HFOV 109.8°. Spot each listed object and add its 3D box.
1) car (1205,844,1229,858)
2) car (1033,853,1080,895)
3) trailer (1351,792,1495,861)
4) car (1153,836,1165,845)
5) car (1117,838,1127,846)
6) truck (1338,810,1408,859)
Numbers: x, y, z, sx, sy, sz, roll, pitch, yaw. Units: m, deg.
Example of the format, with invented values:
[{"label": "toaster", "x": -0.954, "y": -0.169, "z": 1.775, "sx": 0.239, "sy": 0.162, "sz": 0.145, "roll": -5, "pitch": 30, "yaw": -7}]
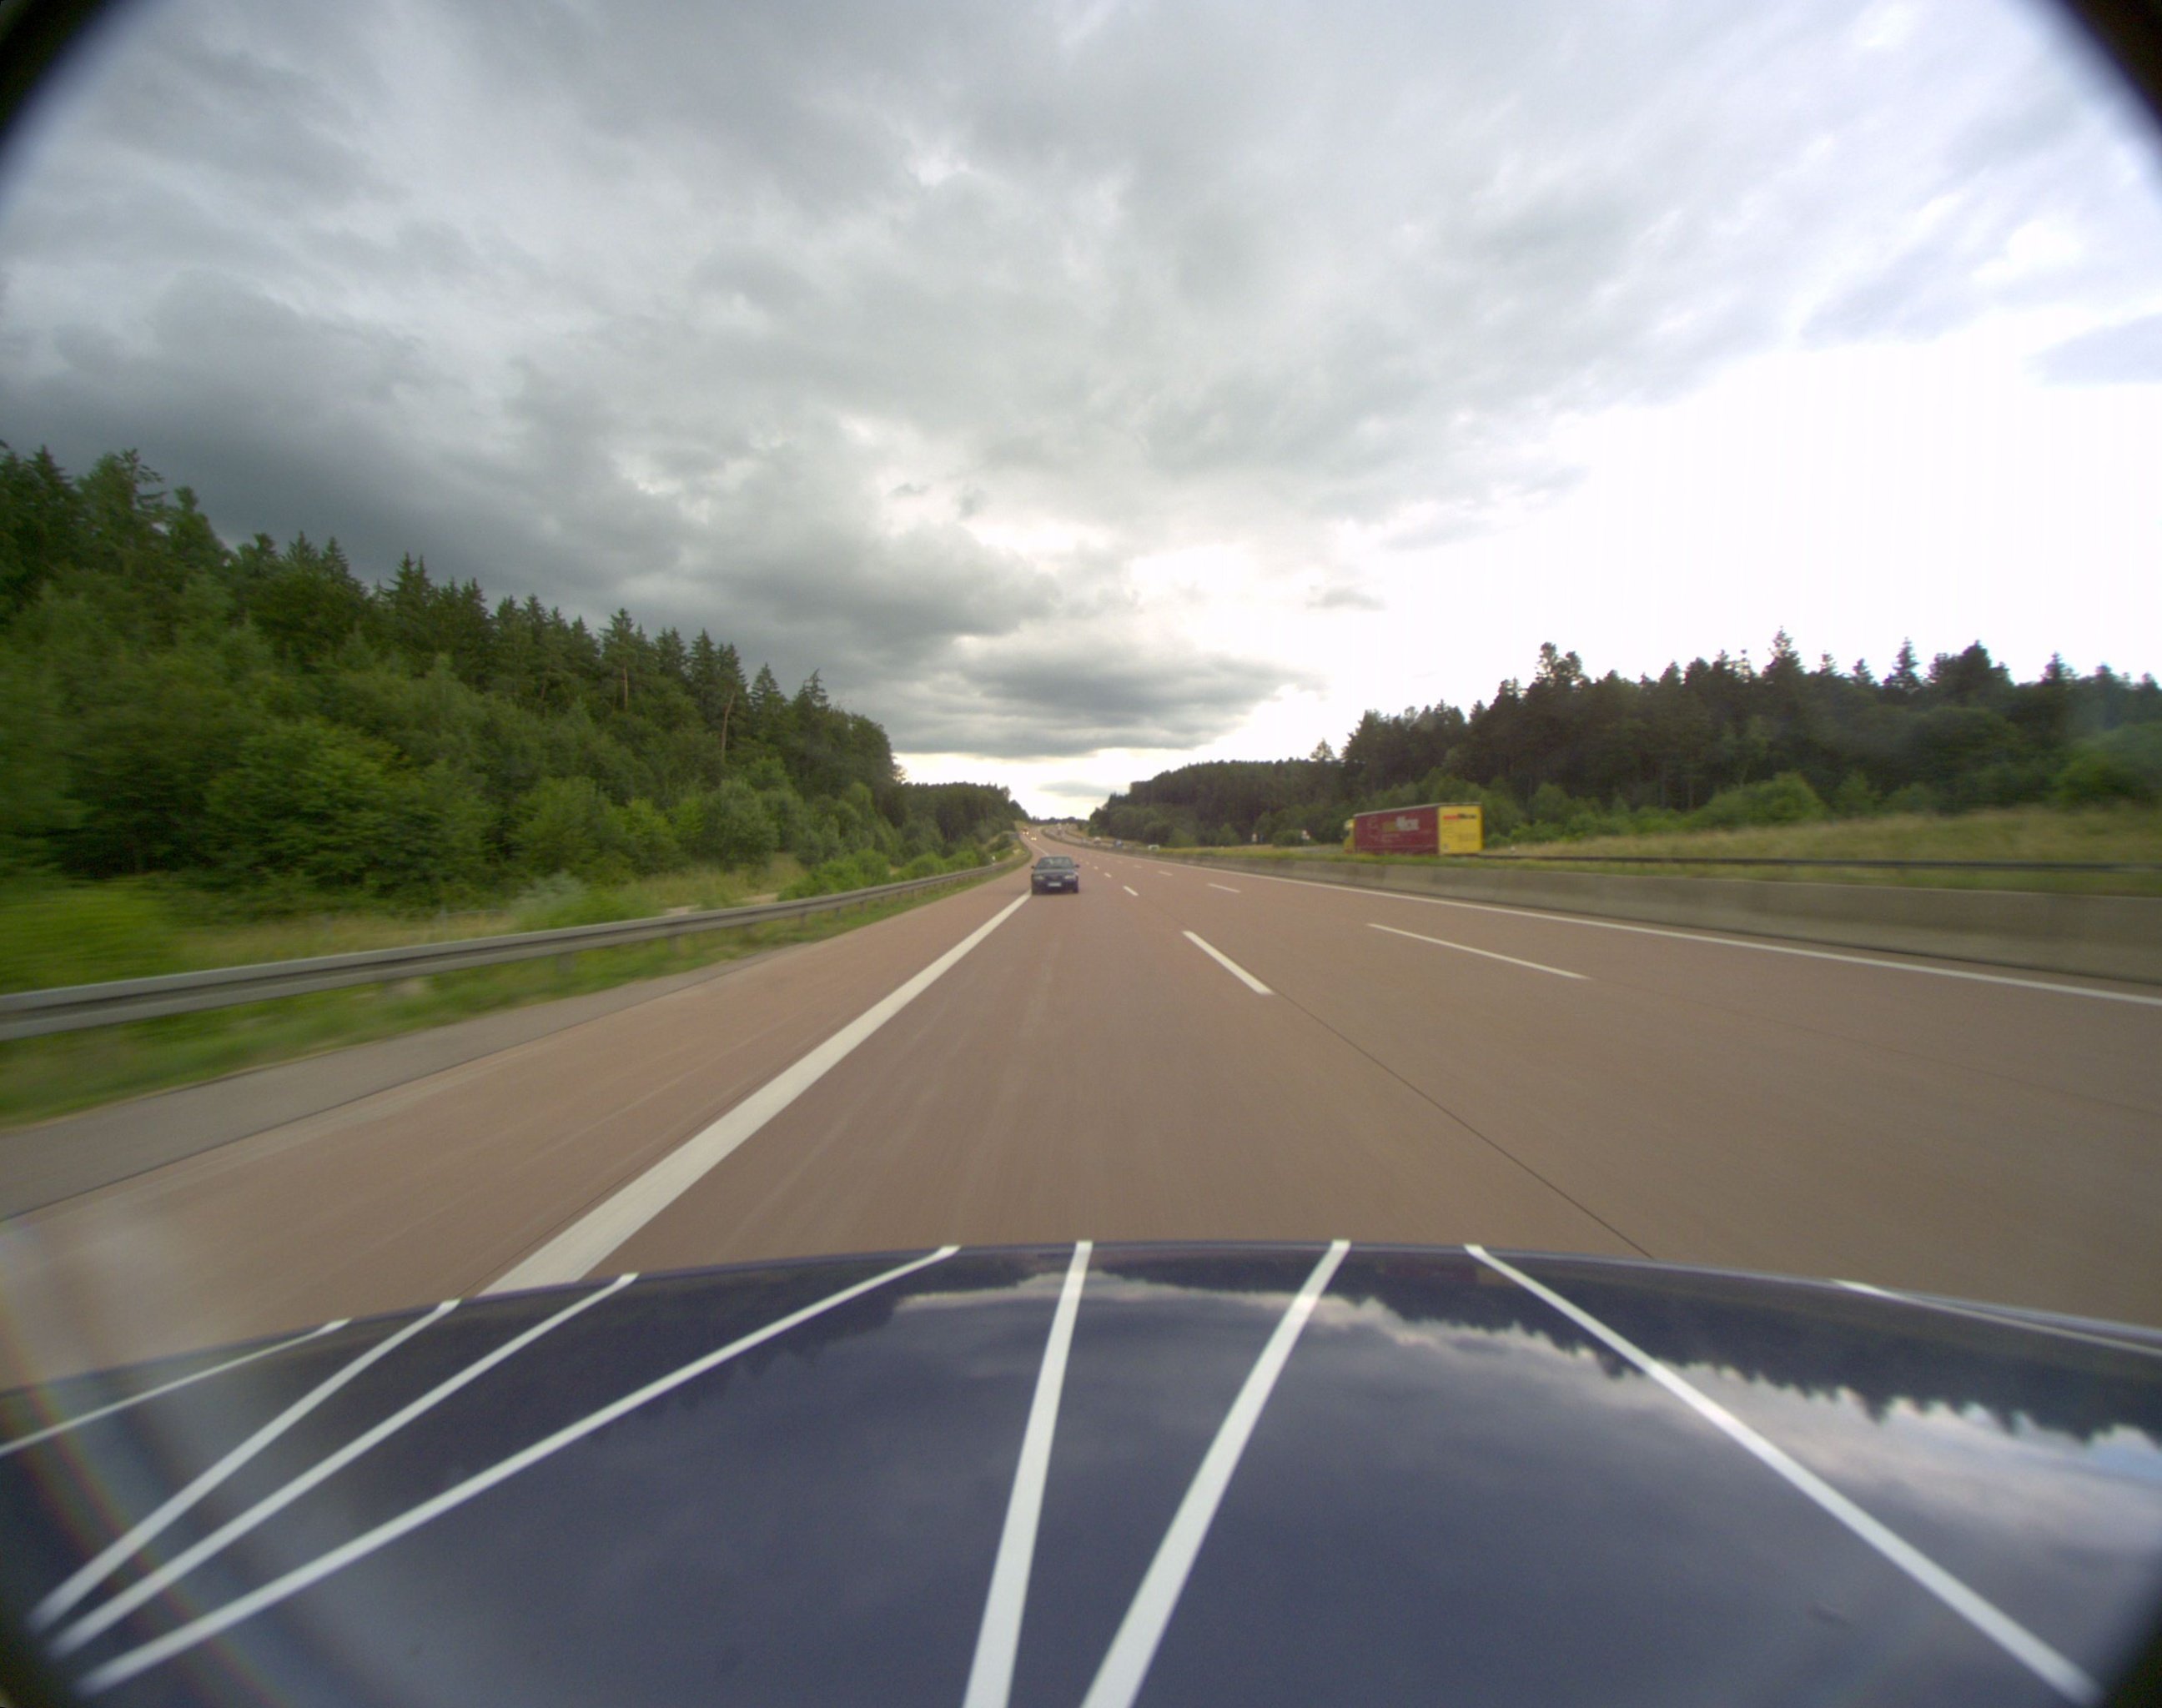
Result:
[{"label": "car", "x": 14.741, "y": -0.356, "z": 82.485, "sx": 1.745, "sy": 1.395, "sz": 4.030, "roll": -1, "pitch": 1, "yaw": -1}, {"label": "car", "x": -0.905, "y": 0.712, "z": 29.189, "sx": 1.676, "sy": 1.395, "sz": 4.231, "roll": -1, "pitch": 2, "yaw": -1}, {"label": "trailer", "x": 22.948, "y": -1.624, "z": 52.499, "sx": 3.041, "sy": 4.018, "sz": 14.529, "roll": -2, "pitch": 0, "yaw": -1}, {"label": "car", "x": 13.328, "y": -2.306, "z": 129.240, "sx": 1.571, "sy": 1.558, "sz": 3.410, "roll": -2, "pitch": 2, "yaw": -1}, {"label": "car", "x": 11.425, "y": -3.401, "z": 212.392, "sx": 1.999, "sy": 2.229, "sz": 6.038, "roll": -2, "pitch": 1, "yaw": -3}, {"label": "truck", "x": 22.812, "y": -1.425, "z": 59.700, "sx": 3.020, "sy": 3.561, "sz": 6.057, "roll": -2, "pitch": 0, "yaw": -1}]
